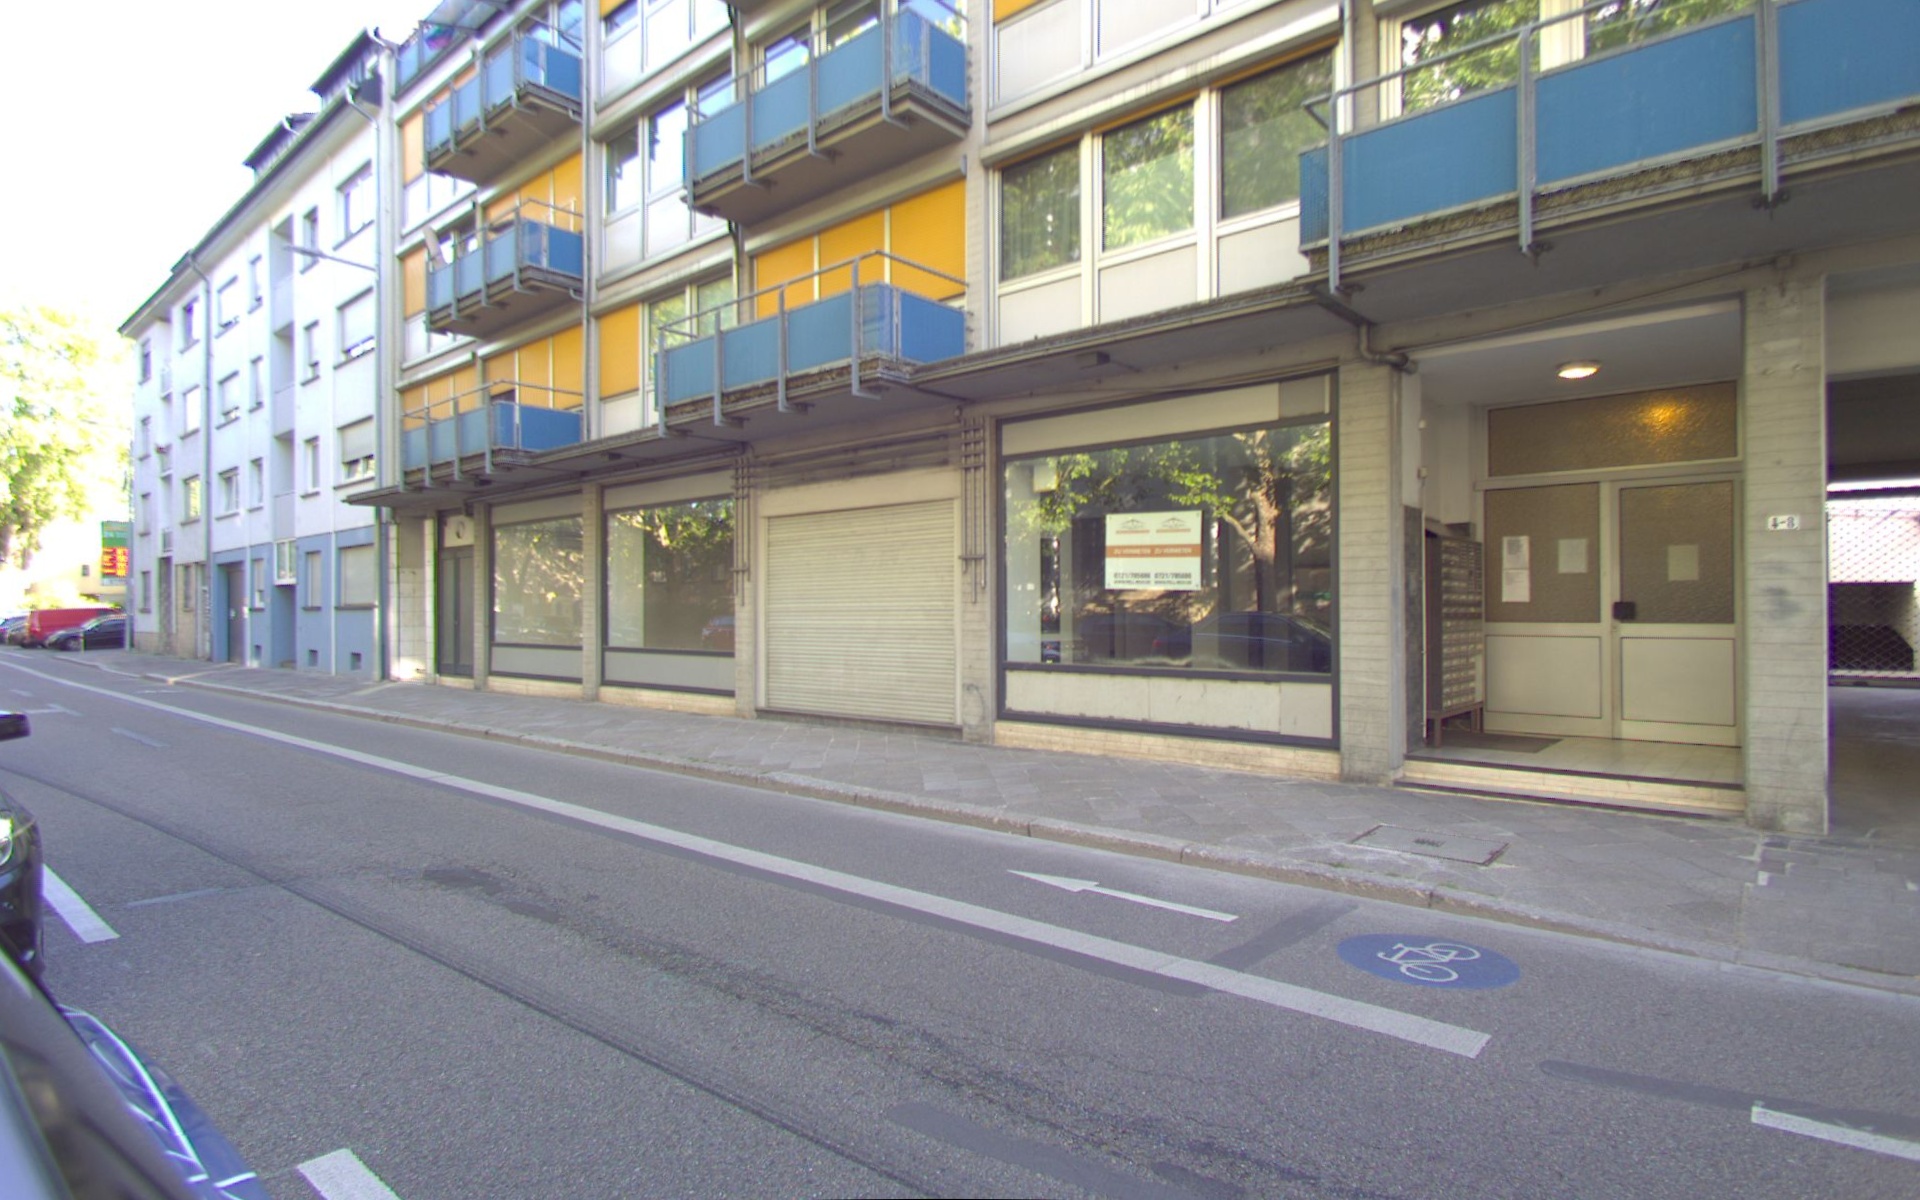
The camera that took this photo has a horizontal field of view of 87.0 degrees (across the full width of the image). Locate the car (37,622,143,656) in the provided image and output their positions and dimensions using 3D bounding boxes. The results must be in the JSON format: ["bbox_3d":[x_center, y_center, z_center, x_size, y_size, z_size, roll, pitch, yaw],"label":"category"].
[{"bbox_3d":[-39.799,1.751,46.351,1.534,1.420,3.551,-2,-1,42],"label":"car"}]

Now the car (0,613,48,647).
[{"bbox_3d":[-62.717,1.972,66.589,1.725,2.193,3.854,-1,0,42],"label":"car"}]

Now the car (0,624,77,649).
[{"bbox_3d":[-55.383,2.181,60.439,1.525,1.343,3.854,-1,0,42],"label":"car"}]

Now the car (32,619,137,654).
[{"bbox_3d":[-41.517,1.705,48.047,1.602,1.521,3.620,-1,0,42],"label":"car"}]

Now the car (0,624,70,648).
[{"bbox_3d":[-57.189,2.205,62.001,1.525,1.343,3.854,-1,0,42],"label":"car"}]

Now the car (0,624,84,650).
[{"bbox_3d":[-53.367,2.120,58.560,1.594,1.385,3.854,-1,0,42],"label":"car"}]

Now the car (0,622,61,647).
[{"bbox_3d":[-59.218,2.193,63.759,1.539,1.451,3.733,-1,0,42],"label":"car"}]

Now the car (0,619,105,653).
[{"bbox_3d":[-46.057,1.785,51.403,1.603,1.598,3.854,-1,0,42],"label":"car"}]

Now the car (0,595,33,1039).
[{"bbox_3d":[-5.436,0.767,4.207,4.291,1.515,1.805,-1,0,40],"label":"car"}]

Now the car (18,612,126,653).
[{"bbox_3d":[-43.710,1.569,49.865,1.749,1.921,3.854,-1,-1,42],"label":"car"}]

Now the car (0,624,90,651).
[{"bbox_3d":[-51.853,2.101,57.221,1.594,1.385,3.854,-1,0,42],"label":"car"}]
